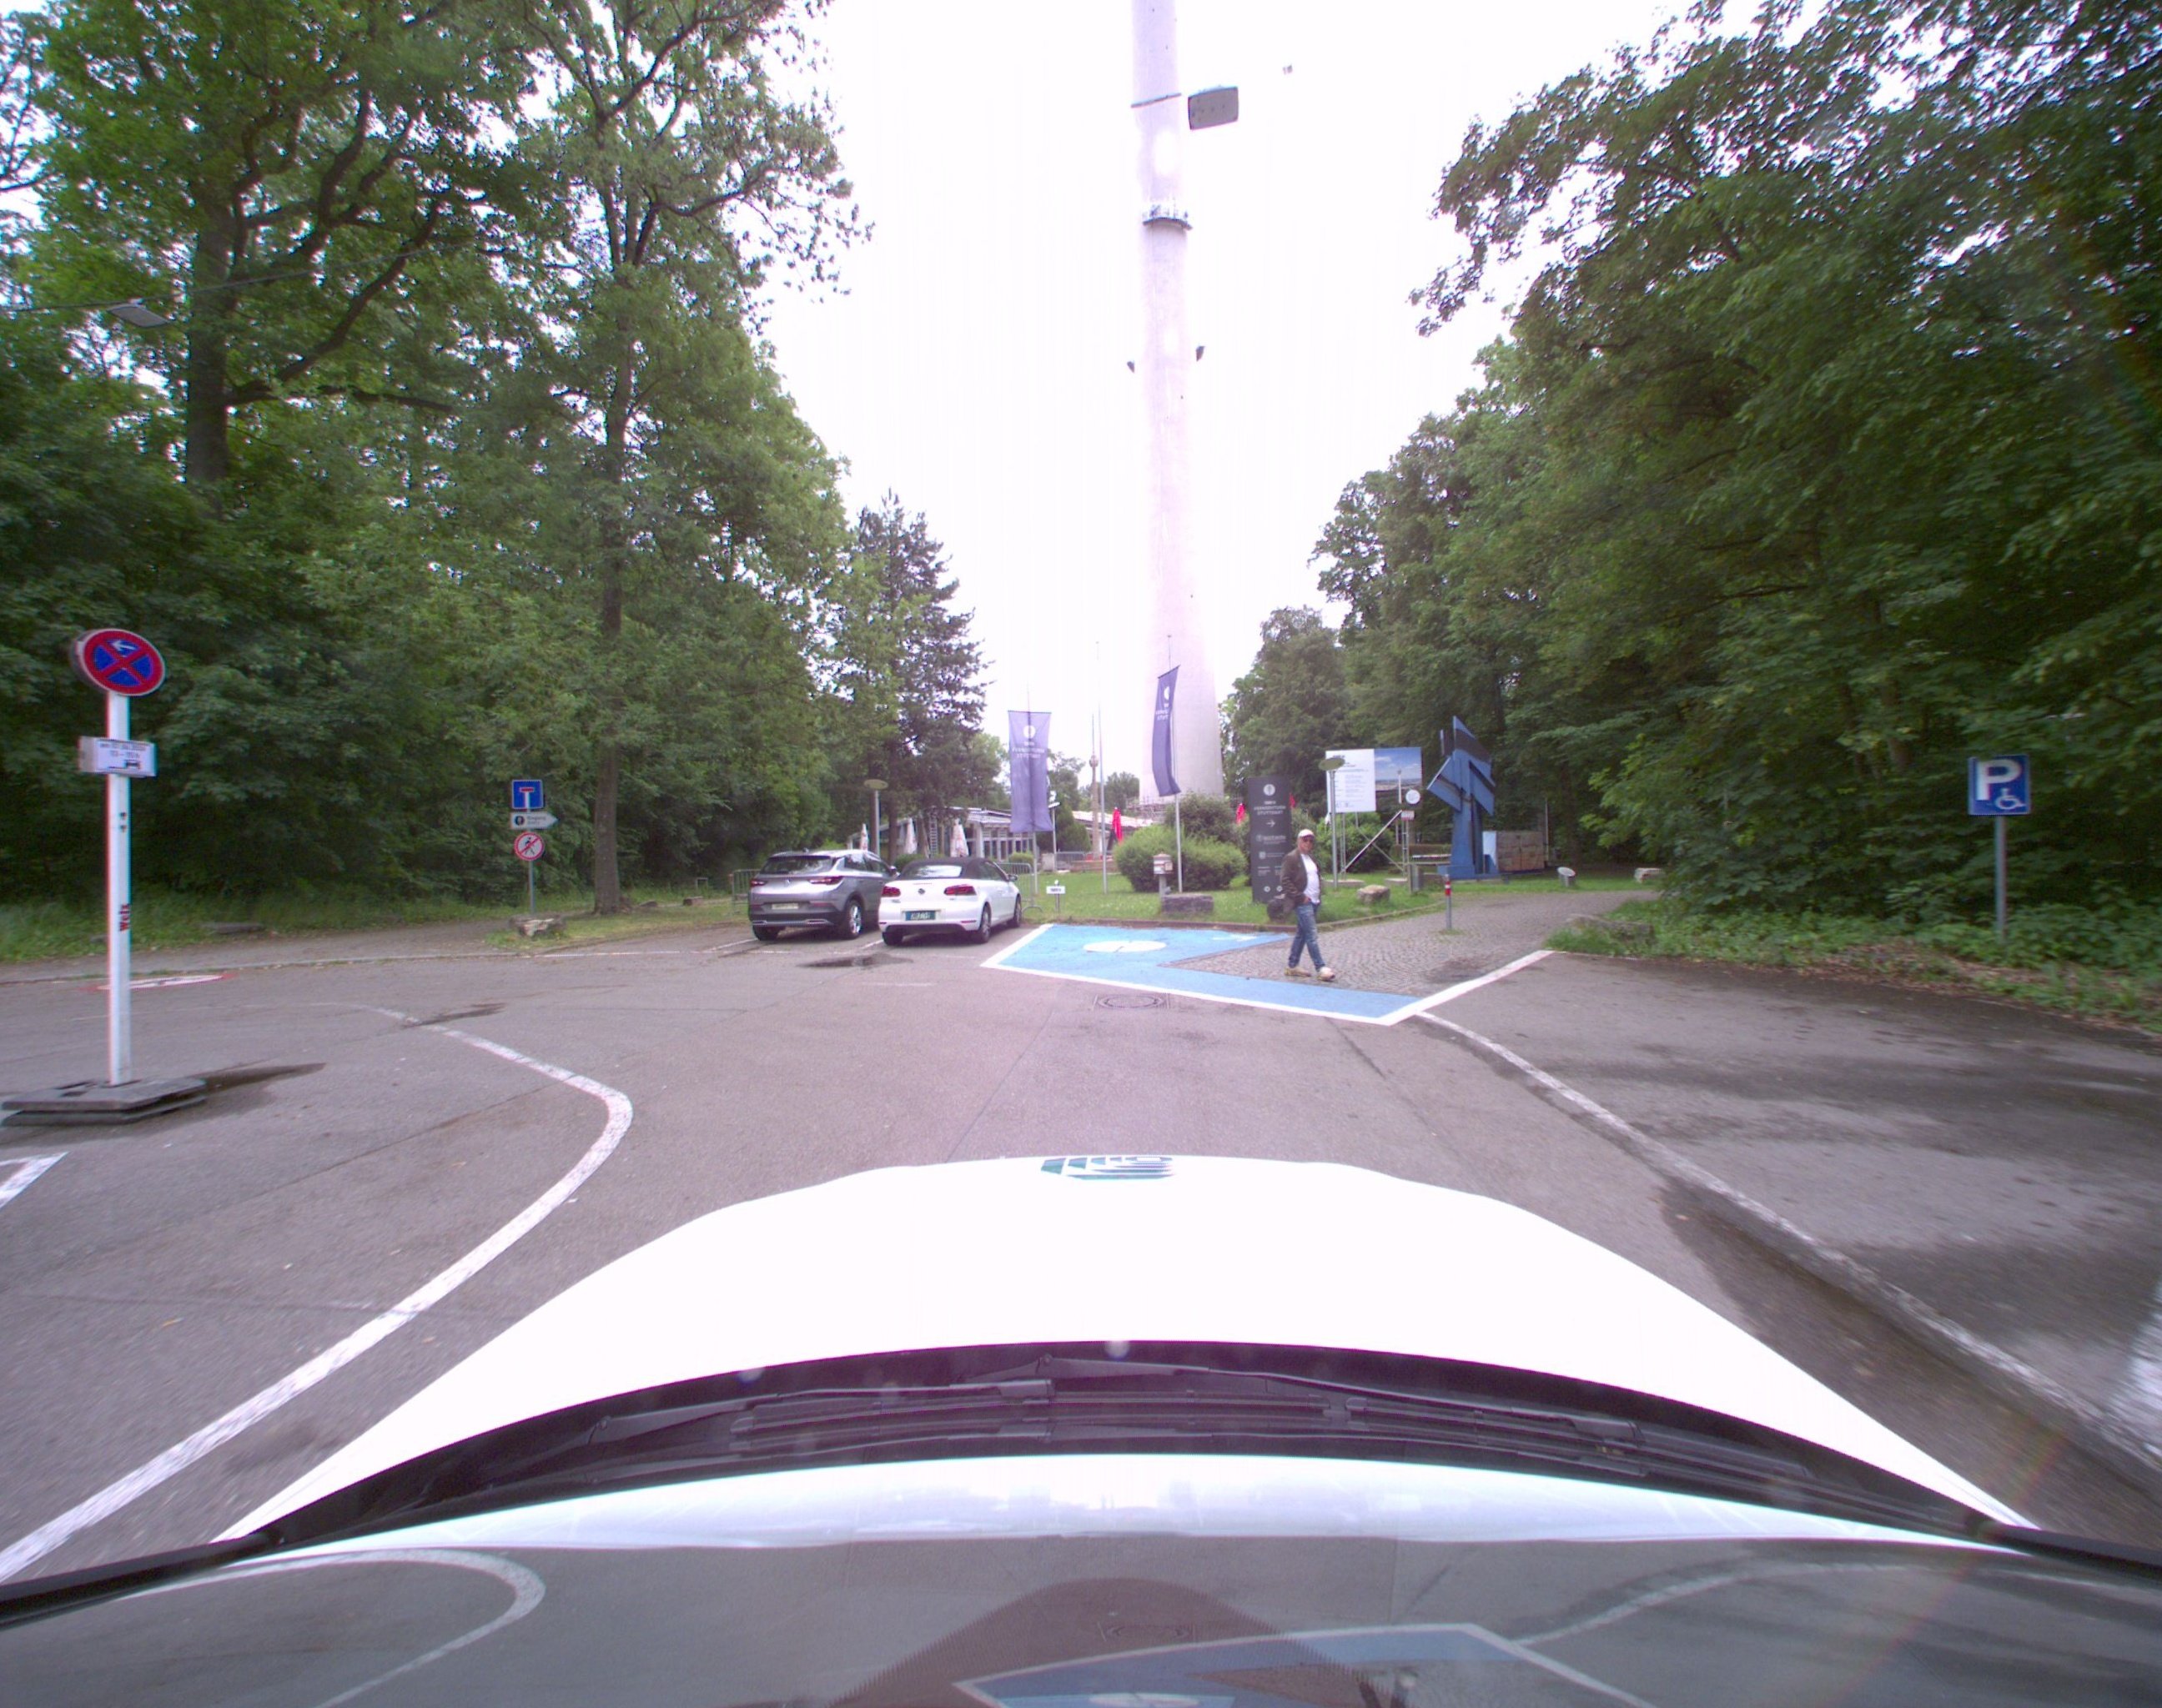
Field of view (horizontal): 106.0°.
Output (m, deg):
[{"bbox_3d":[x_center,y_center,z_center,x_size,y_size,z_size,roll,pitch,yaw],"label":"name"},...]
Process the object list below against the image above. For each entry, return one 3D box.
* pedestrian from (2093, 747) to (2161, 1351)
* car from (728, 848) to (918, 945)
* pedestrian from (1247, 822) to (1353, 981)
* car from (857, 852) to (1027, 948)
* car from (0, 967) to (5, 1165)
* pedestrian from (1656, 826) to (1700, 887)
[{"bbox_3d":[3.410,0.557,1.987,0.757,1.725,0.899,-1,0,7],"label":"pedestrian"},{"bbox_3d":[-4.749,0.709,15.674,1.882,1.585,4.009,-1,1,8],"label":"car"},{"bbox_3d":[2.527,0.506,9.418,0.768,1.725,0.886,-1,0,-43],"label":"pedestrian"},{"bbox_3d":[-2.323,0.725,14.749,1.883,1.428,4.009,-1,1,7],"label":"car"},{"bbox_3d":[-4.928,0.799,1.979,1.839,1.608,4.336,-2,0,-40],"label":"car"},{"bbox_3d":[16.525,0.062,22.551,0.639,1.634,0.771,-2,0,-28],"label":"pedestrian"}]
